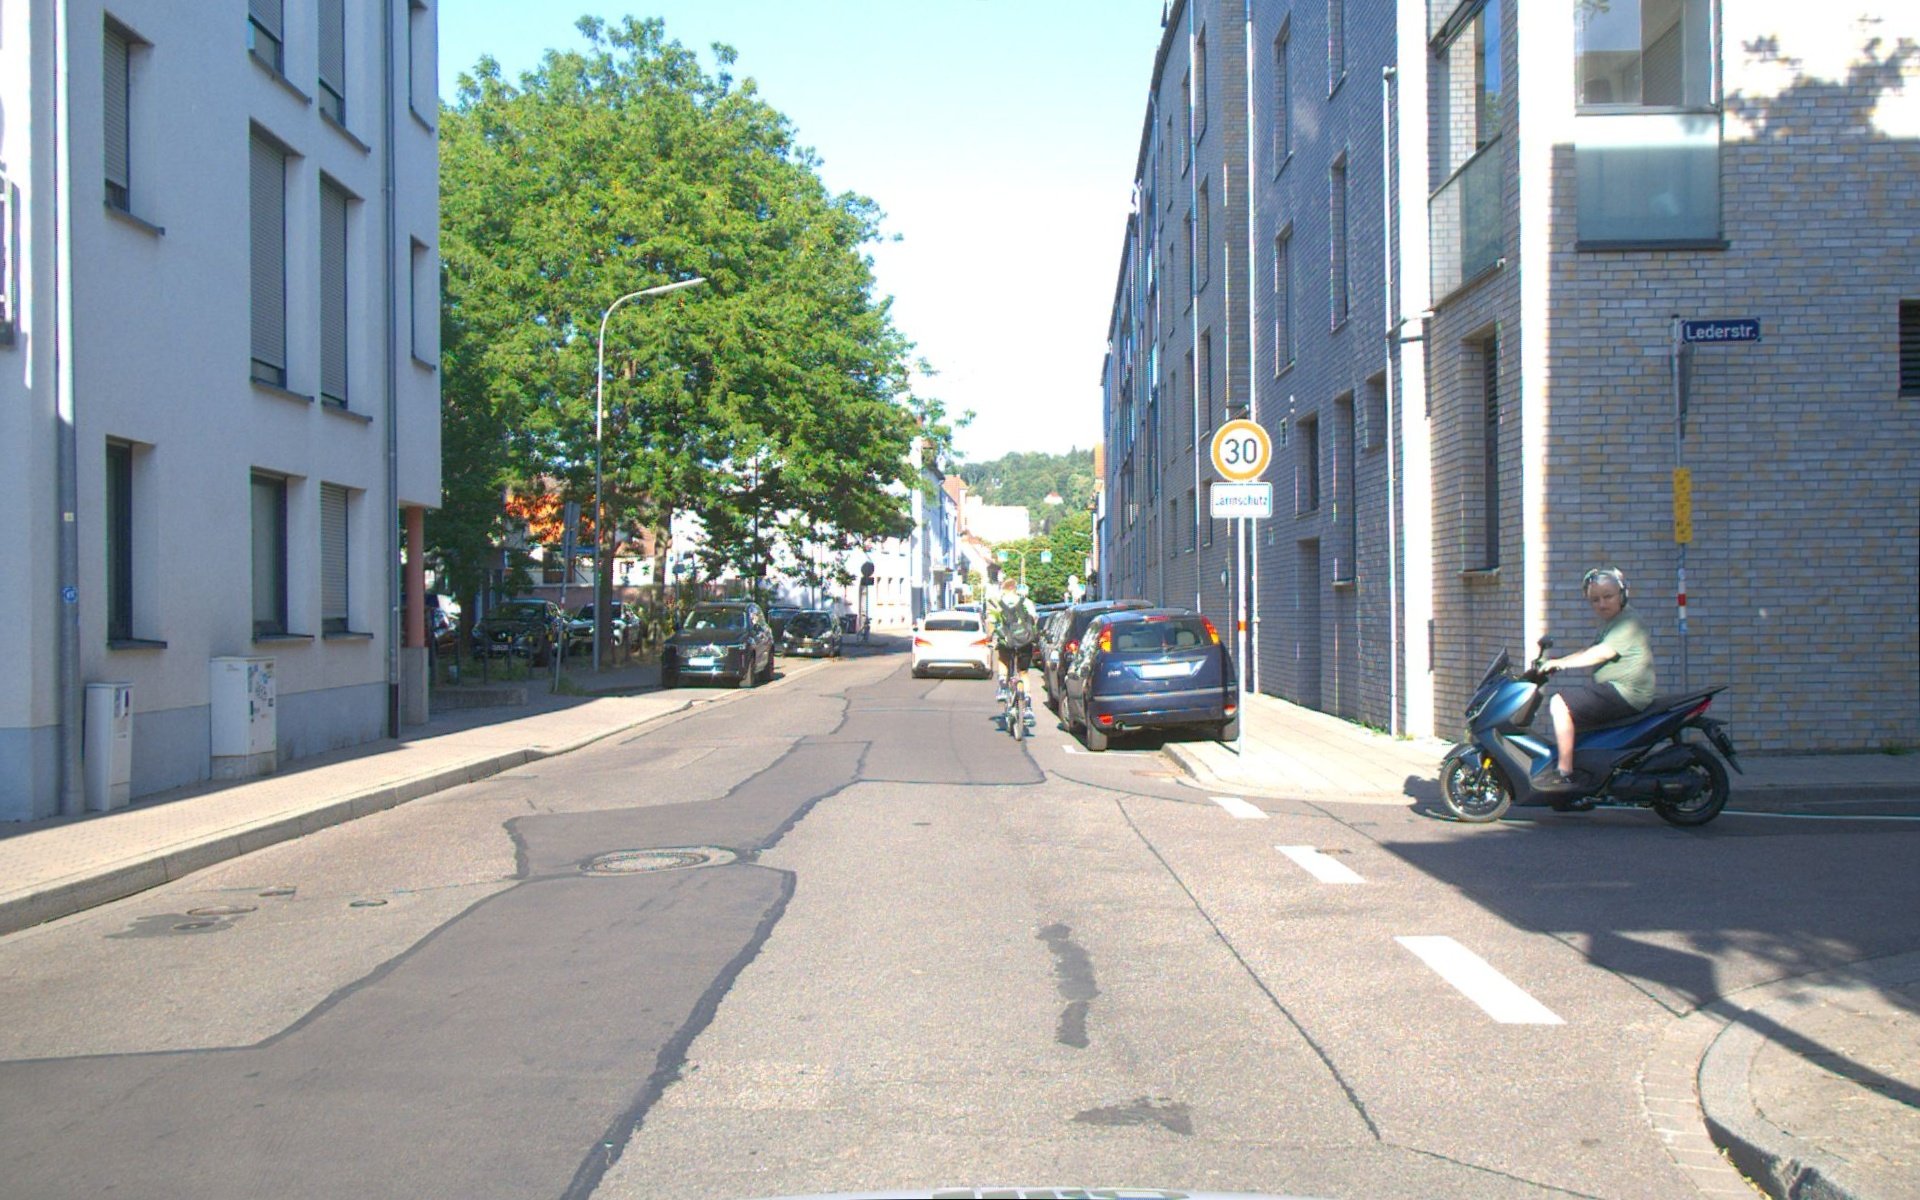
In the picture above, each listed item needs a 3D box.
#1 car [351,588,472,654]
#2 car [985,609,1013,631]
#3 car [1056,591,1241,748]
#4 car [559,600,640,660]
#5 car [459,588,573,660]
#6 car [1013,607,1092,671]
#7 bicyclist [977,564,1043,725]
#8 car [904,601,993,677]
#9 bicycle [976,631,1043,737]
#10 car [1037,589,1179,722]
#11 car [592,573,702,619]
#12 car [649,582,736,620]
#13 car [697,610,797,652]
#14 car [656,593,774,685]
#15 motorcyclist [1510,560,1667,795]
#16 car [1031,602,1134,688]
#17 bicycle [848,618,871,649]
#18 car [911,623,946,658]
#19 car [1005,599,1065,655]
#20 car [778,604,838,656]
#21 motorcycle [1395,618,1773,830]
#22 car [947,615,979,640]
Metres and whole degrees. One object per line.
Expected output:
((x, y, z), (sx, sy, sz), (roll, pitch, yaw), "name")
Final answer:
((-13.639, 0.525, 41.364), (1.684, 1.474, 4.141), (4, -1, -2), "car")
((2.998, 1.546, 127.684), (1.904, 1.615, 4.623), (-1, -1, 4), "car")
((2.099, 0.779, 19.437), (1.596, 1.615, 4.067), (-1, -2, -1), "car")
((-11.574, 0.957, 53.340), (1.754, 1.719, 3.963), (4, -1, -2), "car")
((-11.241, 0.604, 42.191), (1.821, 1.614, 4.617), (4, -1, -4), "car")
((2.485, 1.063, 45.247), (1.820, 1.615, 4.620), (-1, -1, -1), "car")
((0.576, 0.521, 19.441), (0.684, 1.821, 1.040), (2, -2, 0), "bicyclist")
((-0.309, 0.865, 36.564), (1.805, 1.517, 4.142), (2, -2, -2), "car")
((0.561, 0.966, 19.568), (0.684, 1.150, 2.402), (2, -2, 0), "bicycle")
((2.084, 0.776, 24.156), (1.630, 1.732, 3.913), (2, -1, -1), "car")
((-12.029, -0.129, 63.684), (3.819, 1.603, 1.710), (2, -1, 4), "car")
((-12.159, 0.058, 75.397), (3.828, 1.603, 1.706), (2, -1, -8), "car")
((-8.857, 1.281, 68.936), (3.820, 1.603, 1.710), (2, -1, 2), "car")
((-5.319, 0.849, 36.472), (1.815, 1.823, 4.607), (2, -1, 0), "car")
((4.253, 0.508, 11.165), (0.860, 1.498, 0.894), (1, -2, 28), "motorcyclist")
((2.516, 0.939, 34.852), (1.819, 1.615, 4.621), (2, -1, 1), "car")
((-4.233, 1.407, 69.874), (0.818, 1.239, 2.841), (2, -1, -1), "bicycle")
((-1.555, 1.987, 82.008), (1.630, 1.603, 3.912), (2, -1, -1), "car")
((2.413, 0.910, 54.285), (1.819, 1.732, 4.621), (-1, -1, 1), "car")
((-5.007, 0.996, 54.949), (1.670, 1.603, 3.912), (2, -1, -1), "car")
((4.192, 0.800, 11.169), (2.290, 1.303, 0.894), (-1, -3, 29), "motorcycle")
((0.230, 1.845, 111.062), (1.904, 1.615, 4.622), (-1, -1, 2), "car")
